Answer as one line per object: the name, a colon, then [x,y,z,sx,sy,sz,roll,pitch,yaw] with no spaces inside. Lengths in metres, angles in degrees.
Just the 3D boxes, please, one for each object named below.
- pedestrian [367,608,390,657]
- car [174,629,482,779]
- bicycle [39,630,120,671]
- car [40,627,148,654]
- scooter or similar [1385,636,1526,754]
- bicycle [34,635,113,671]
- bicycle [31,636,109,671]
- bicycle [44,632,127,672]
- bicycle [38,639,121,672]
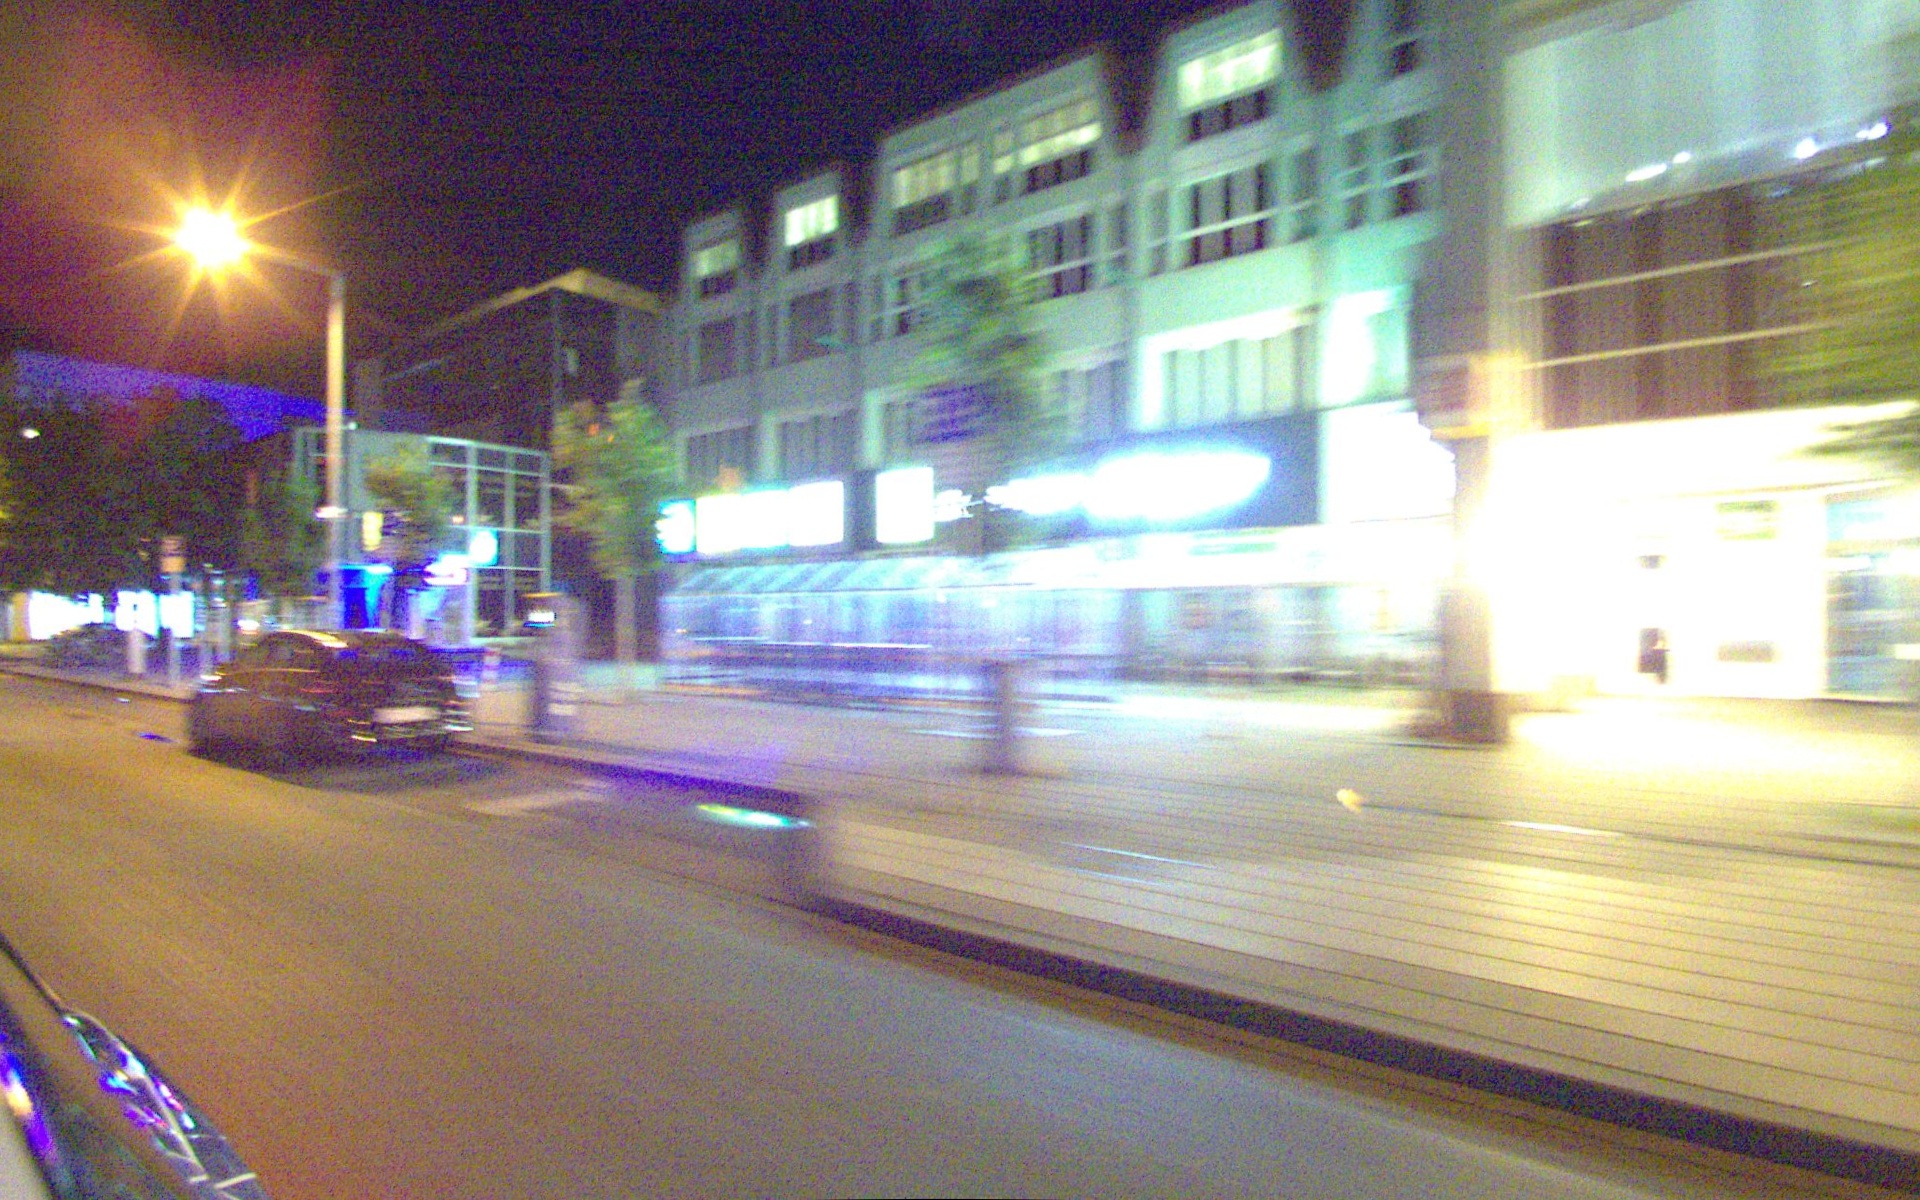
pedestrian: [-20.000,1.112,34.801,0.631,1.649,0.473,-1,-2,39]
car: [-7.520,1.063,11.868,4.490,1.424,1.724,-1,-1,39]
bicycle: [-27.773,1.572,31.940,0.532,1.263,1.833,-1,-2,38]
car: [-48.223,2.249,56.437,1.800,1.408,4.288,-1,-2,37]
scooter or similar: [5.477,1.015,11.236,1.343,1.230,0.383,-1,-2,41]
bicycle: [-28.284,1.685,32.307,0.532,1.043,1.833,-1,-1,38]
bicycle: [-28.852,1.723,32.848,0.532,1.007,1.833,-1,0,38]
bicycle: [-26.654,1.569,30.875,0.532,1.175,1.833,-1,-2,38]
bicycle: [-27.115,1.699,31.192,0.501,0.975,1.833,-1,-2,38]
